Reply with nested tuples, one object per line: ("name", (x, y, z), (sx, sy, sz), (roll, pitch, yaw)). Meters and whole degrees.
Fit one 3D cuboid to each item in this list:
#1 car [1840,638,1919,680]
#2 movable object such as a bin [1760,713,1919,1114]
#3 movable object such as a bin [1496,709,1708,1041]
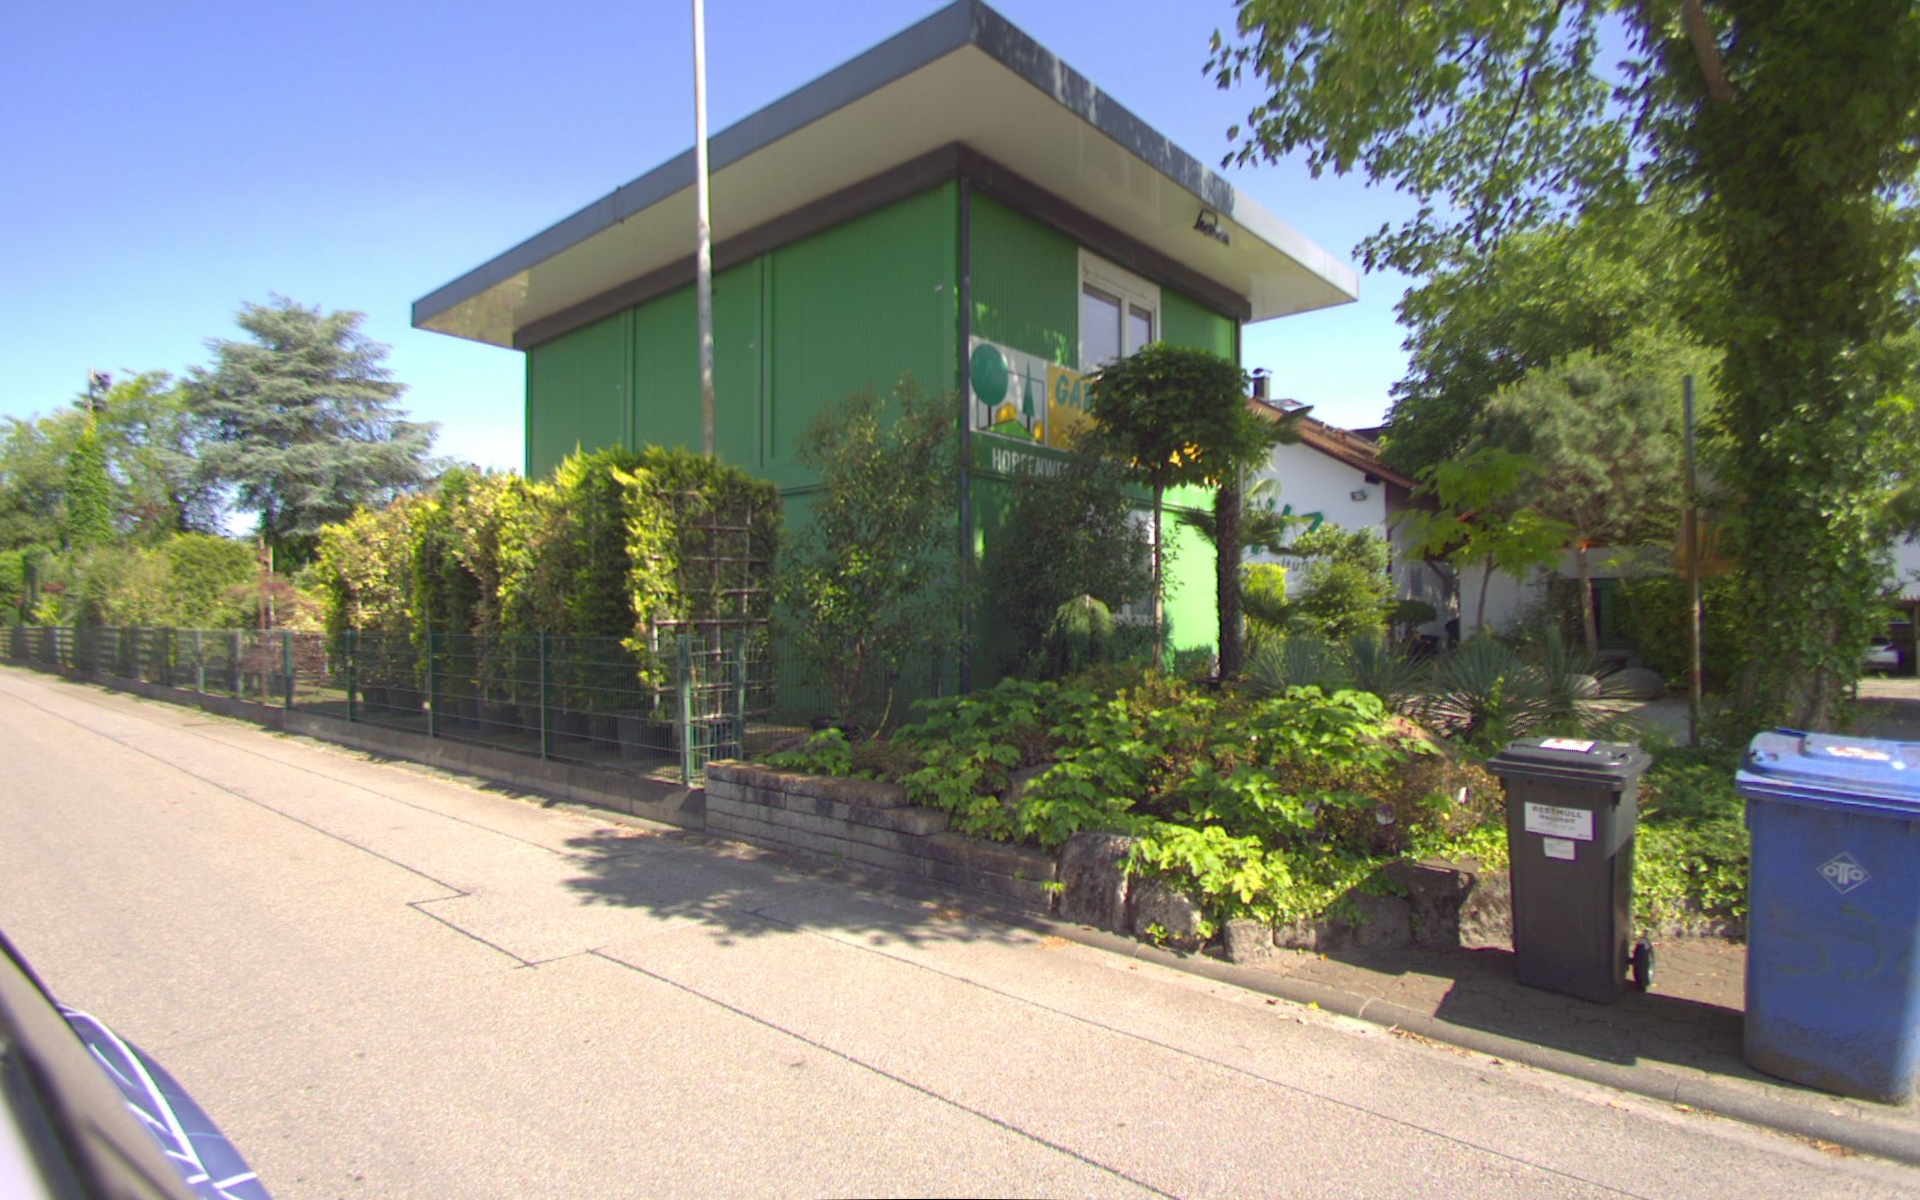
("car", (33.593, 2.111, 36.931), (3.940, 1.453, 1.904), (2, -3, -44))
("movable object such as a bin", (2.954, 0.938, 3.196), (0.612, 1.062, 0.723), (-2, -1, 42))
("movable object such as a bin", (2.413, 0.966, 3.803), (0.568, 1.032, 0.576), (-2, -1, 42))
